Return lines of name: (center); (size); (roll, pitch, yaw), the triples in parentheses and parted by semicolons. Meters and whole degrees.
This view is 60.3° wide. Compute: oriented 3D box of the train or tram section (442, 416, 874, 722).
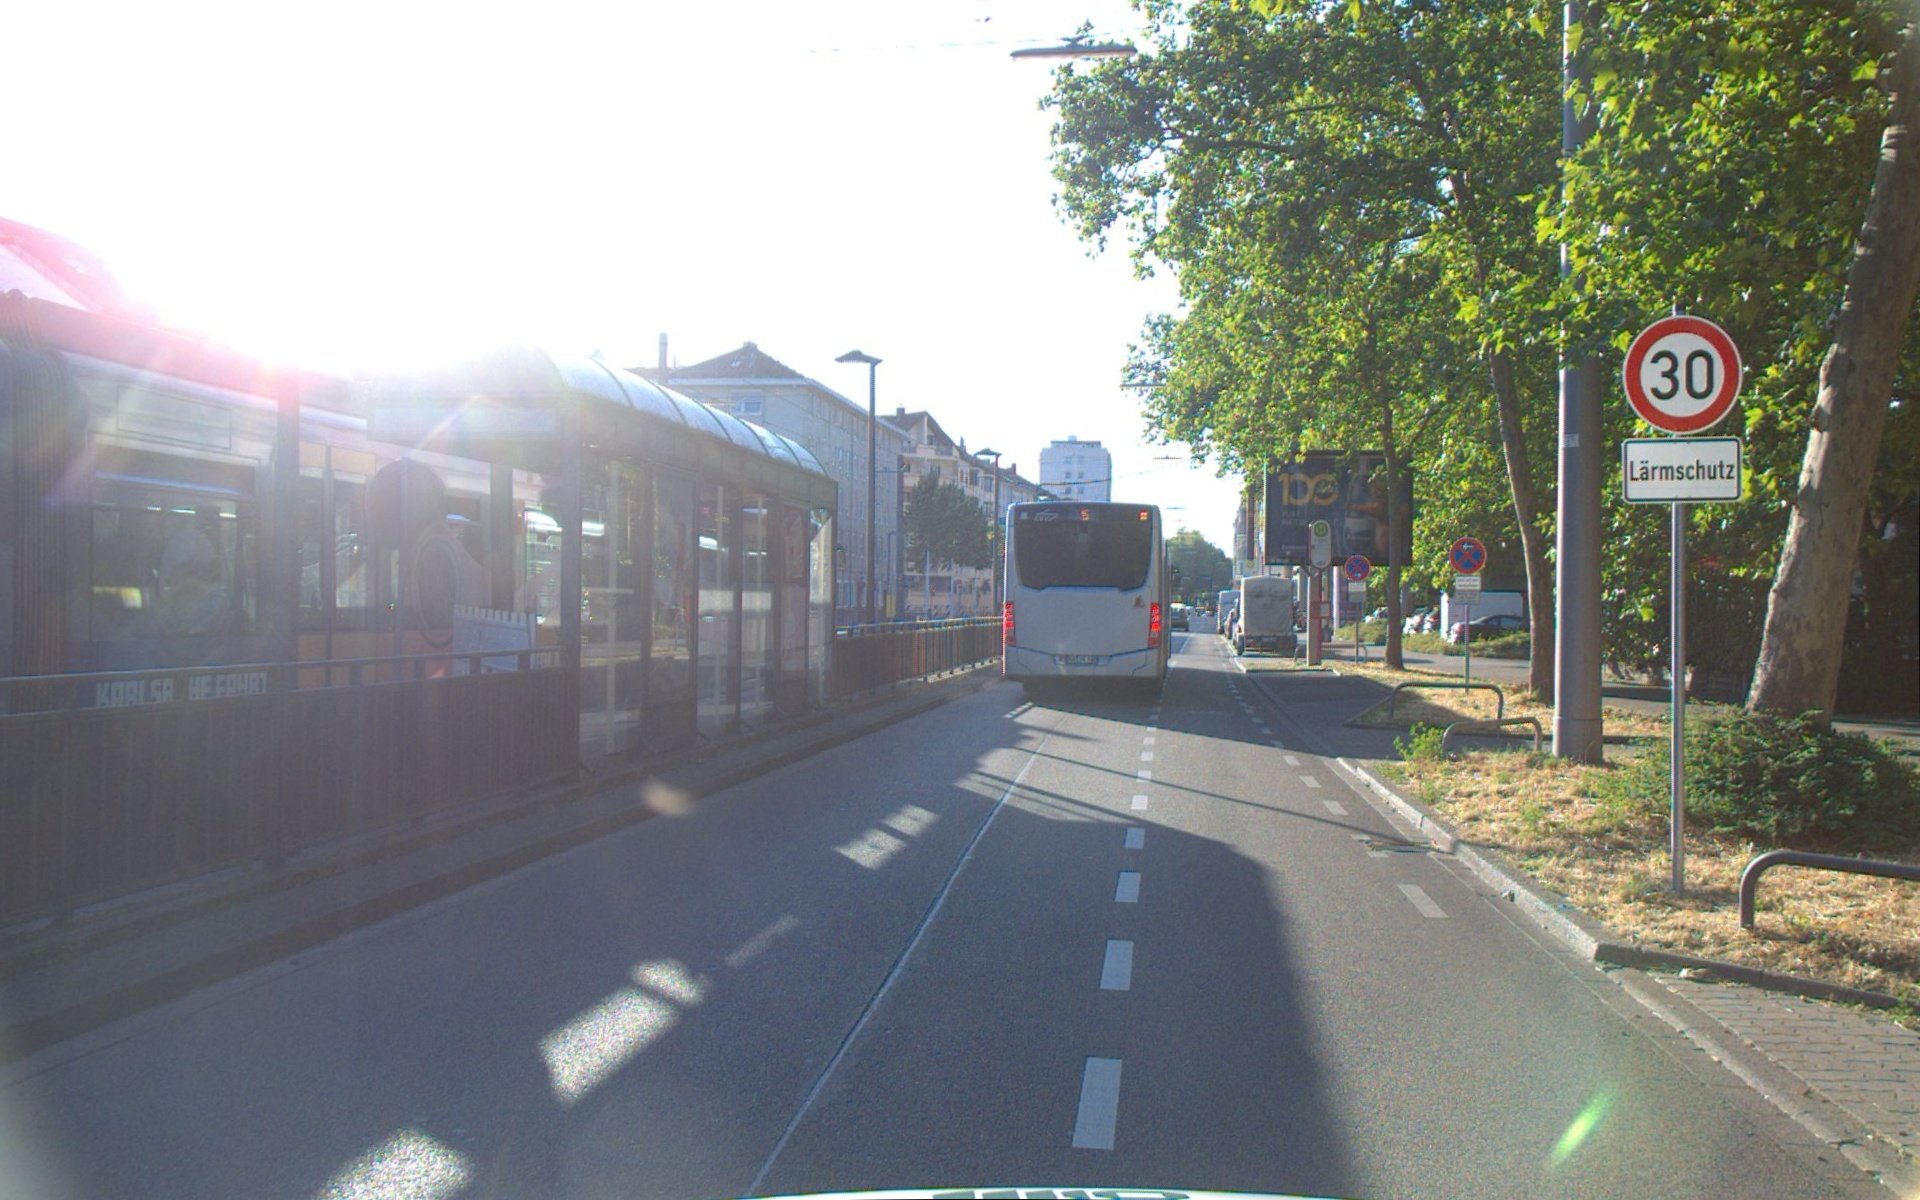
train or tram section: (-3.940, -0.352, 26.157); (2.584, 3.581, 13.344); (0, 0, 8)

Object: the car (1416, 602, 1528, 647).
car: (19.329, 0.922, 62.568); (3.837, 1.665, 1.707); (0, -1, 8)

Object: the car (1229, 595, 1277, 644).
car: (12.142, 0.802, 68.744); (1.807, 1.991, 4.547); (0, -1, 8)

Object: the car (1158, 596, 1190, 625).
car: (14.174, 0.651, 109.216); (1.951, 1.847, 4.003); (1, 0, 9)

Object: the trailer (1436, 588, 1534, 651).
trailer: (18.180, 0.665, 57.399); (2.999, 2.106, 1.880); (1, 0, 9)

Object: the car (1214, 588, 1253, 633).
car: (16.546, 0.655, 100.384); (2.233, 2.673, 5.313); (0, -1, 8)

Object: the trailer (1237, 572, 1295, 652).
trailer: (10.272, 0.392, 55.688); (1.793, 2.602, 3.321); (0, 0, 8)

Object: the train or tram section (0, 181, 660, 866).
train or tram section: (-5.760, -0.395, 13.262); (2.670, 3.611, 12.795); (0, 0, 8)

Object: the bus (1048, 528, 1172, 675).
bus: (3.783, 0.012, 40.306); (2.651, 3.161, 8.986); (1, 0, 7)

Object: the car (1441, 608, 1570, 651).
car: (17.994, 0.969, 54.705); (3.836, 1.359, 1.707); (0, -1, 9)

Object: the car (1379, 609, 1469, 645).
car: (21.346, 1.254, 76.181); (3.837, 1.616, 1.707); (0, -1, 8)

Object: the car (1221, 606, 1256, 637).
car: (14.233, 1.089, 84.613); (1.635, 1.488, 3.936); (-2, -1, 8)

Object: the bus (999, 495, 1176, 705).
bus: (2.585, -0.020, 30.610); (2.675, 3.194, 10.711); (1, 0, 7)

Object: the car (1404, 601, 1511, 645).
car: (19.494, 0.896, 64.933); (3.837, 1.666, 1.707); (0, -1, 8)
